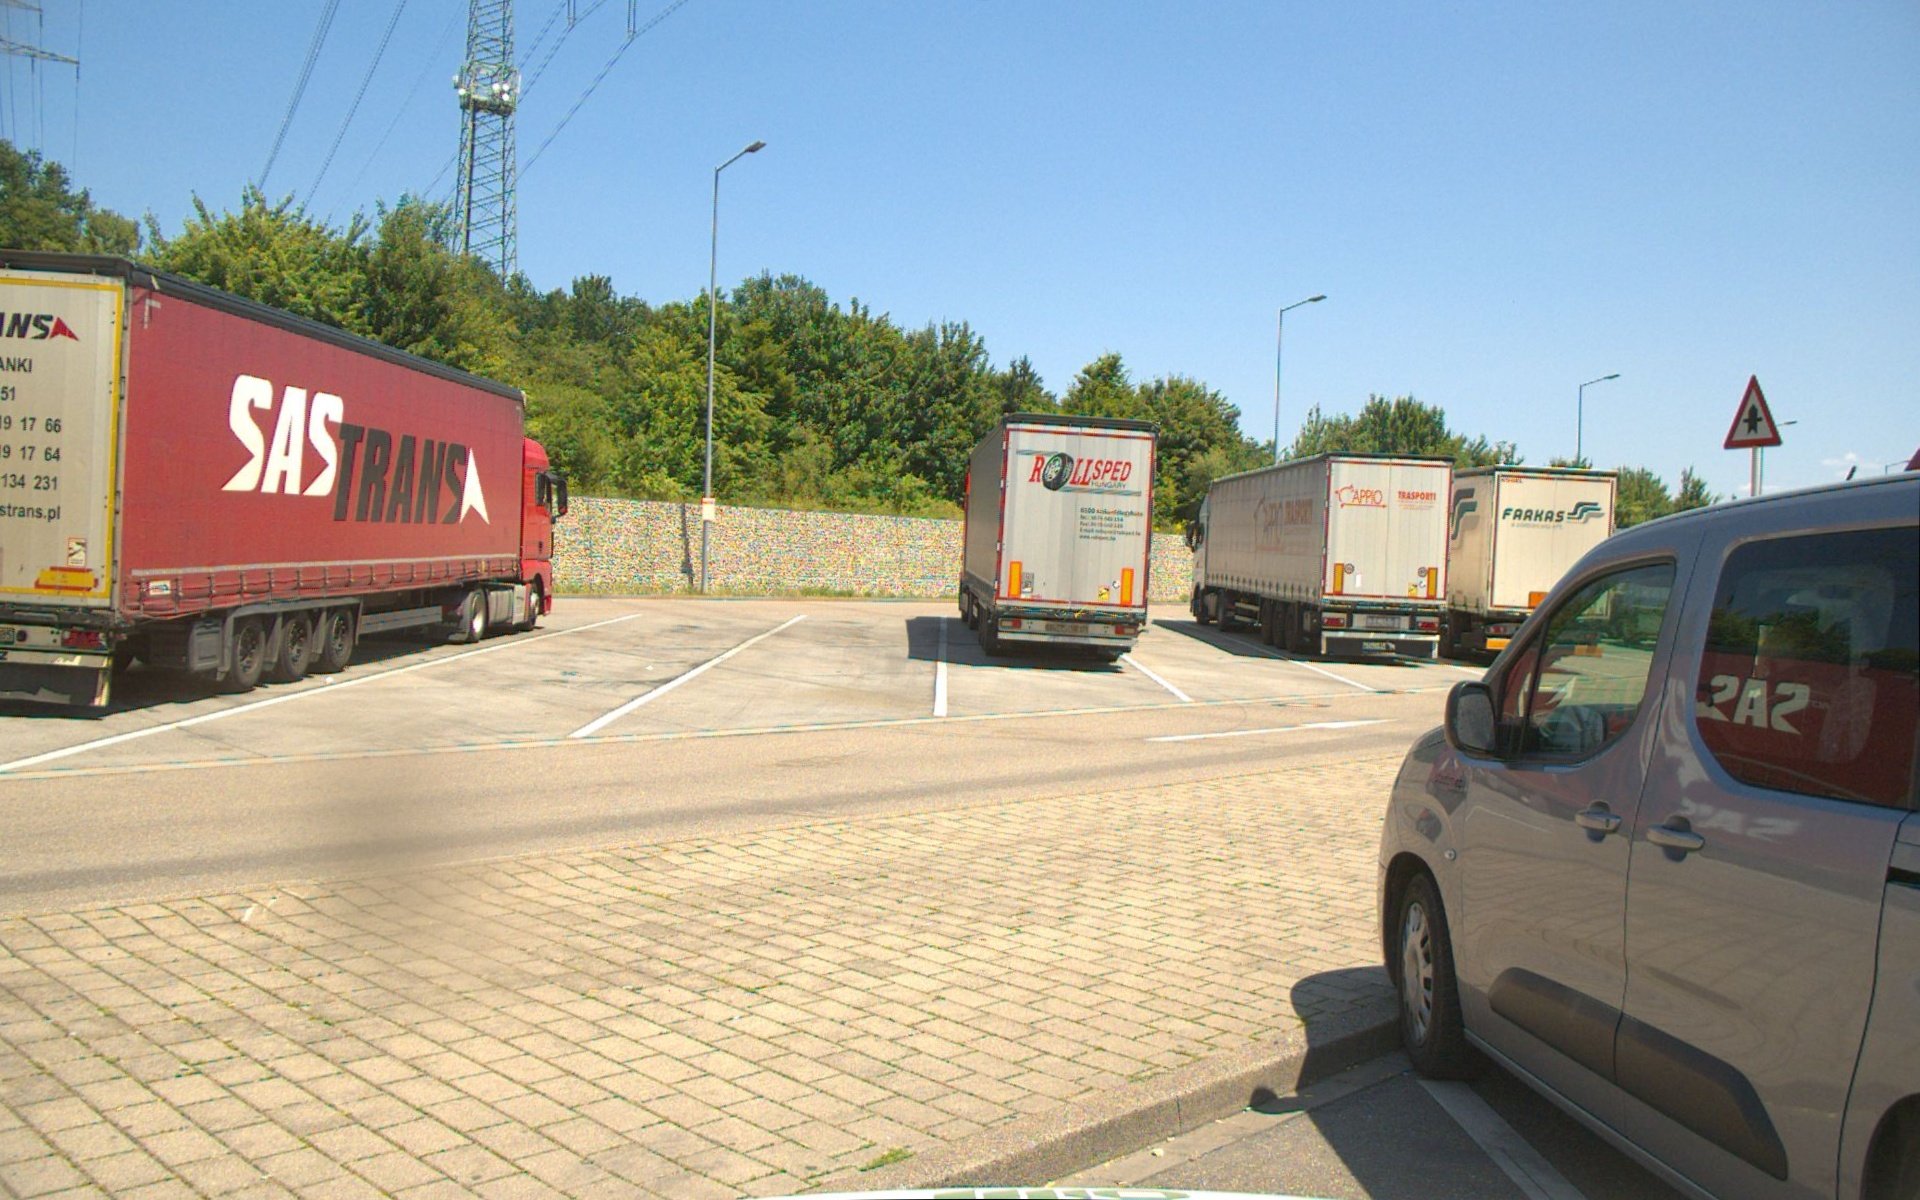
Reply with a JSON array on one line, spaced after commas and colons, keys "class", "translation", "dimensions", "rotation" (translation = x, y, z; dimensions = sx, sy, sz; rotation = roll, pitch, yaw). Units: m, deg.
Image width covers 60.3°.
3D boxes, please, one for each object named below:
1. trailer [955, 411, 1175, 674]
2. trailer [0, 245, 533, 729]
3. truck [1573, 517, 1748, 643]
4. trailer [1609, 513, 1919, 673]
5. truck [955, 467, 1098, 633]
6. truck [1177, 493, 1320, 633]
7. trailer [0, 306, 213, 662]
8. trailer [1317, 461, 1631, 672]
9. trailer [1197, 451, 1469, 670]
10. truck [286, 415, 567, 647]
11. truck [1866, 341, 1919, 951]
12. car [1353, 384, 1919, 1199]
[{"class": "trailer", "translation": [1.660, -1.202, 33.650], "dimensions": [3.070, 4.058, 14.393], "rotation": [3, 2, -1]}, {"class": "trailer", "translation": [-8.723, -1.295, 21.442], "dimensions": [2.735, 4.155, 14.131], "rotation": [3, 2, -1]}, {"class": "truck", "translation": [21.766, -0.711, 51.746], "dimensions": [2.746, 3.582, 5.900], "rotation": [3, 2, -1]}, {"class": "trailer", "translation": [21.845, -0.406, 44.516], "dimensions": [2.754, 3.568, 14.395], "rotation": [3, 2, -1]}, {"class": "truck", "translation": [1.503, -1.248, 40.540], "dimensions": [3.041, 3.628, 5.900], "rotation": [3, 2, -1]}, {"class": "truck", "translation": [8.054, -1.104, 46.959], "dimensions": [2.804, 3.582, 5.900], "rotation": [3, 2, -1]}, {"class": "trailer", "translation": [-12.549, -1.339, 17.720], "dimensions": [2.739, 4.155, 14.131], "rotation": [3, 2, -1]}, {"class": "trailer", "translation": [11.735, -0.947, 39.964], "dimensions": [2.754, 4.058, 14.395], "rotation": [3, 2, -1]}, {"class": "trailer", "translation": [8.172, -1.040, 38.859], "dimensions": [2.754, 4.058, 14.395], "rotation": [3, 2, -1]}, {"class": "truck", "translation": [-8.788, -1.156, 28.013], "dimensions": [2.793, 3.385, 5.900], "rotation": [3, 2, -1]}, {"class": "truck", "translation": [5.006, 0.193, 4.988], "dimensions": [1.937, 2.668, 5.307], "rotation": [1, 0, 4]}, {"class": "car", "translation": [2.444, 0.596, 3.864], "dimensions": [1.832, 1.896, 4.174], "rotation": [3, 1, -2]}]
